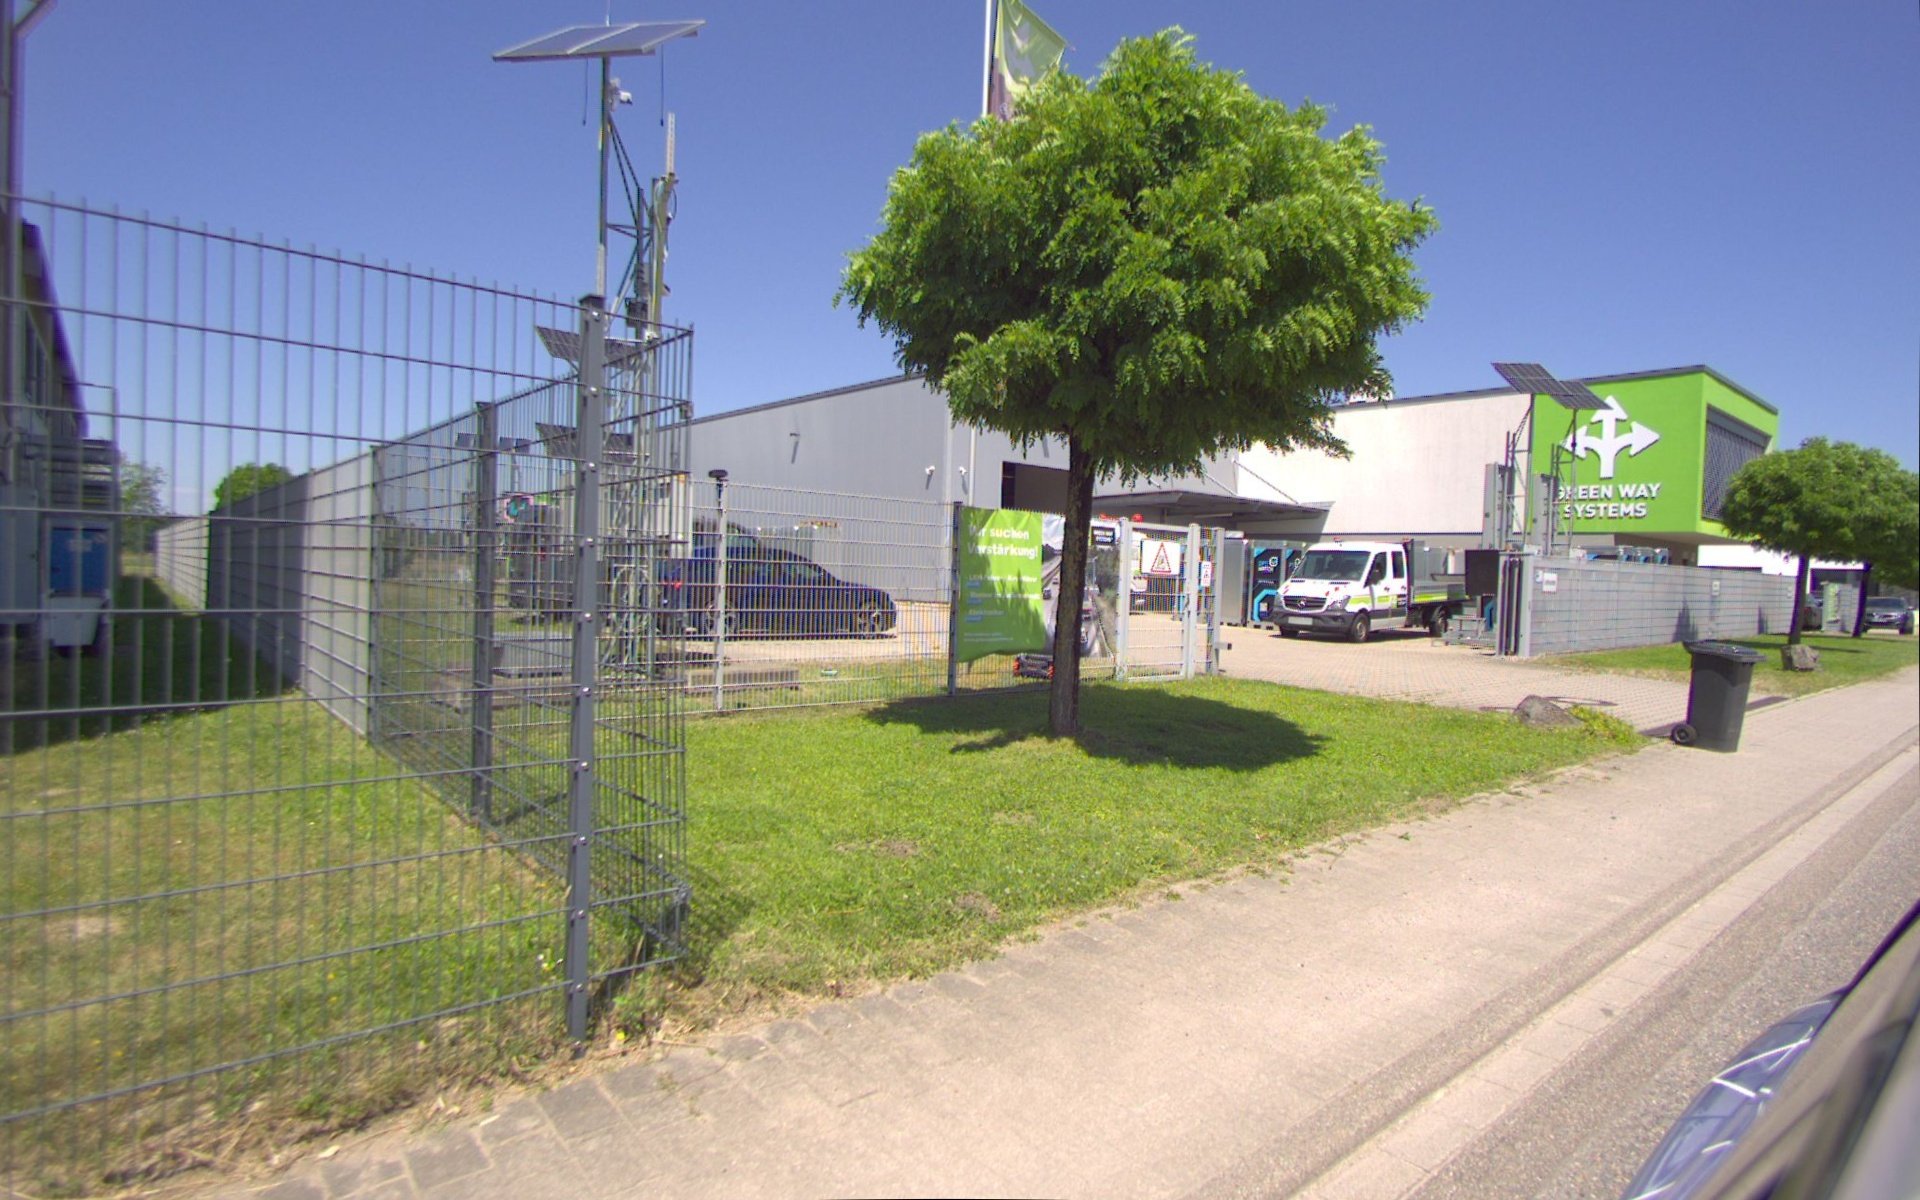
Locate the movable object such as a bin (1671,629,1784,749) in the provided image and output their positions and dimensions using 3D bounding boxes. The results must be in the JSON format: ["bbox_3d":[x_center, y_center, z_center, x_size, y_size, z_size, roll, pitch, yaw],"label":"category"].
[{"bbox_3d":[6.697,0.757,8.837,0.511,0.939,0.555,1,5,-30],"label":"movable object such as a bin"}]

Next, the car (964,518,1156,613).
[{"bbox_3d":[3.042,-0.989,29.828,5.757,2.524,2.135,0,4,-41],"label":"car"}]

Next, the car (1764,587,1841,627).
[{"bbox_3d":[33.917,0.243,40.694,3.985,1.415,1.742,-2,3,-41],"label":"car"}]

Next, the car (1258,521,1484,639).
[{"bbox_3d":[10.318,-0.489,25.023,6.902,2.524,2.135,0,4,-41],"label":"car"}]

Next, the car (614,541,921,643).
[{"bbox_3d":[-3.052,-0.131,16.593,4.530,1.456,1.998,1,2,-41],"label":"car"}]

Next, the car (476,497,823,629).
[{"bbox_3d":[-5.359,-0.580,18.053,5.554,2.021,1.998,1,2,-41],"label":"car"}]

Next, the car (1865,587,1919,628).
[{"bbox_3d":[40.615,0.313,43.734,3.951,1.653,1.726,0,1,-41],"label":"car"}]
